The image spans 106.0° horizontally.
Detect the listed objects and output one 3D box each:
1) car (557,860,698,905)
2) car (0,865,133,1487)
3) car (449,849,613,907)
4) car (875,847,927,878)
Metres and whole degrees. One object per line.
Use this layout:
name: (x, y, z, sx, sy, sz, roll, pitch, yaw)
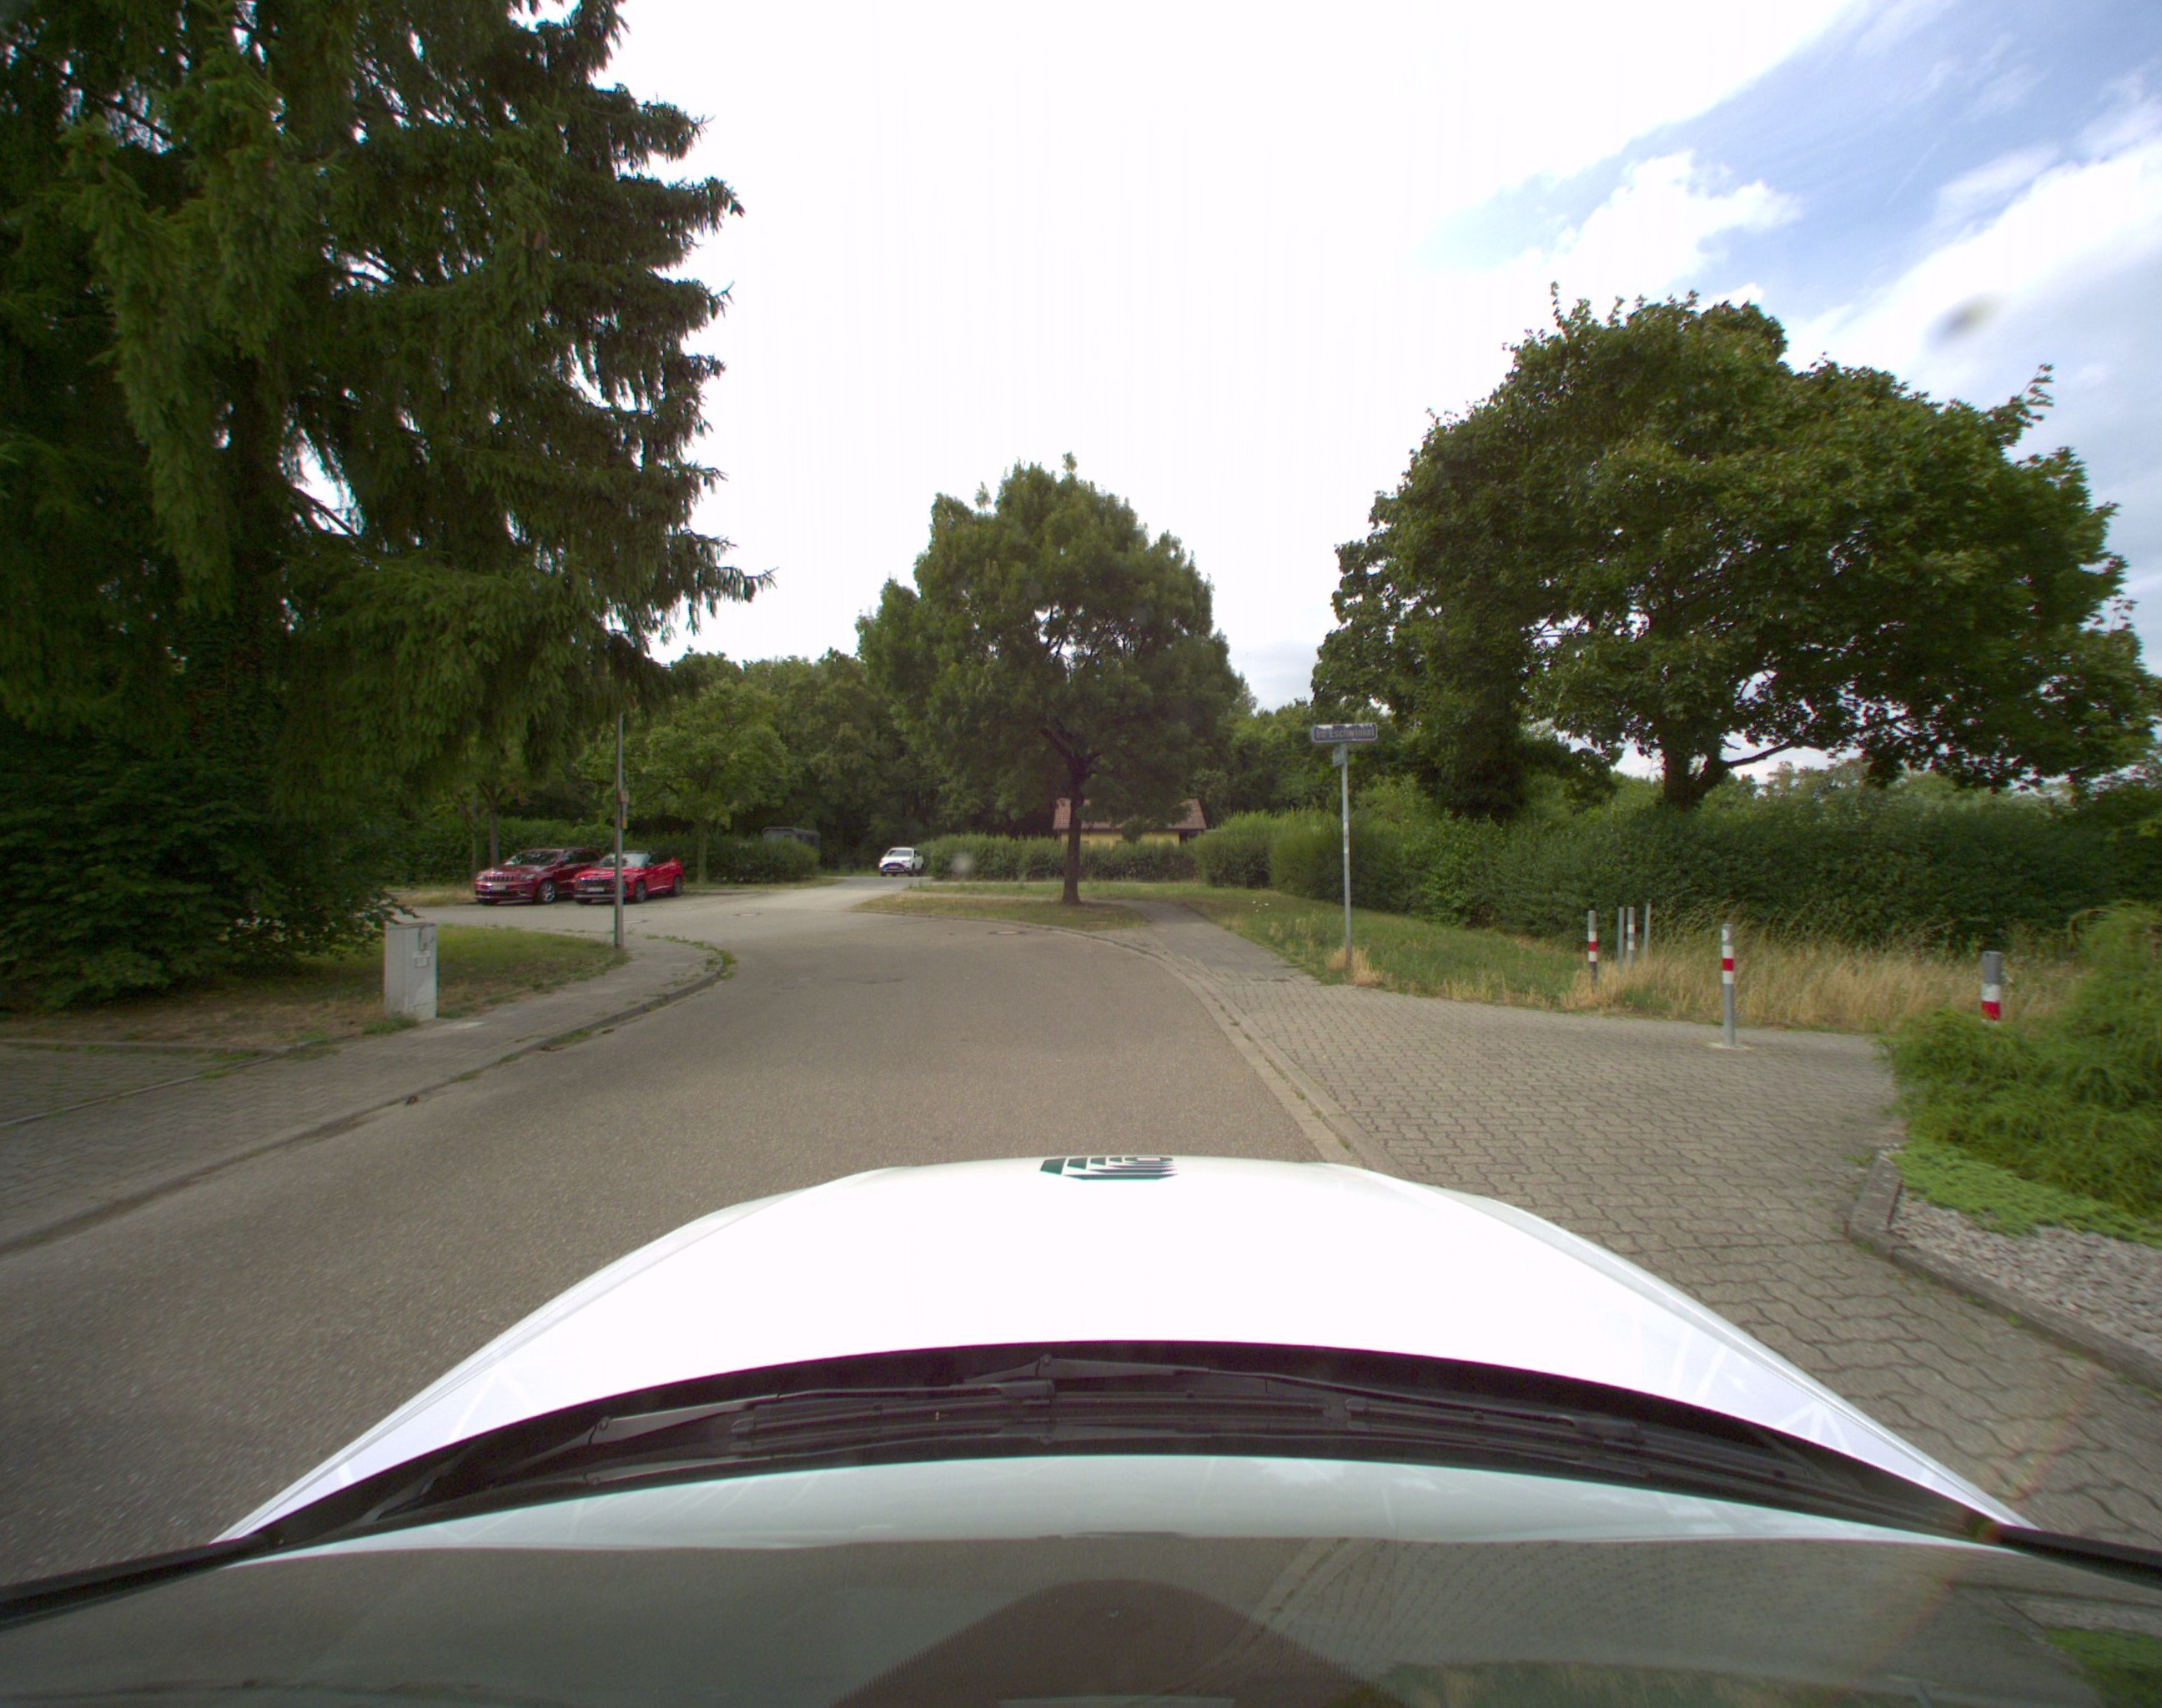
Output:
car: (-14.551, 0.875, 26.482, 1.988, 1.290, 4.691, 0, 0, -1)
car: (-3.599, 0.809, 0.219, 1.785, 1.531, 4.140, -1, 0, 1)
car: (-17.394, 0.685, 26.105, 2.085, 1.686, 4.691, 0, 0, -1)
car: (-10.109, 0.463, 45.995, 1.931, 1.660, 4.341, 0, 0, 1)
